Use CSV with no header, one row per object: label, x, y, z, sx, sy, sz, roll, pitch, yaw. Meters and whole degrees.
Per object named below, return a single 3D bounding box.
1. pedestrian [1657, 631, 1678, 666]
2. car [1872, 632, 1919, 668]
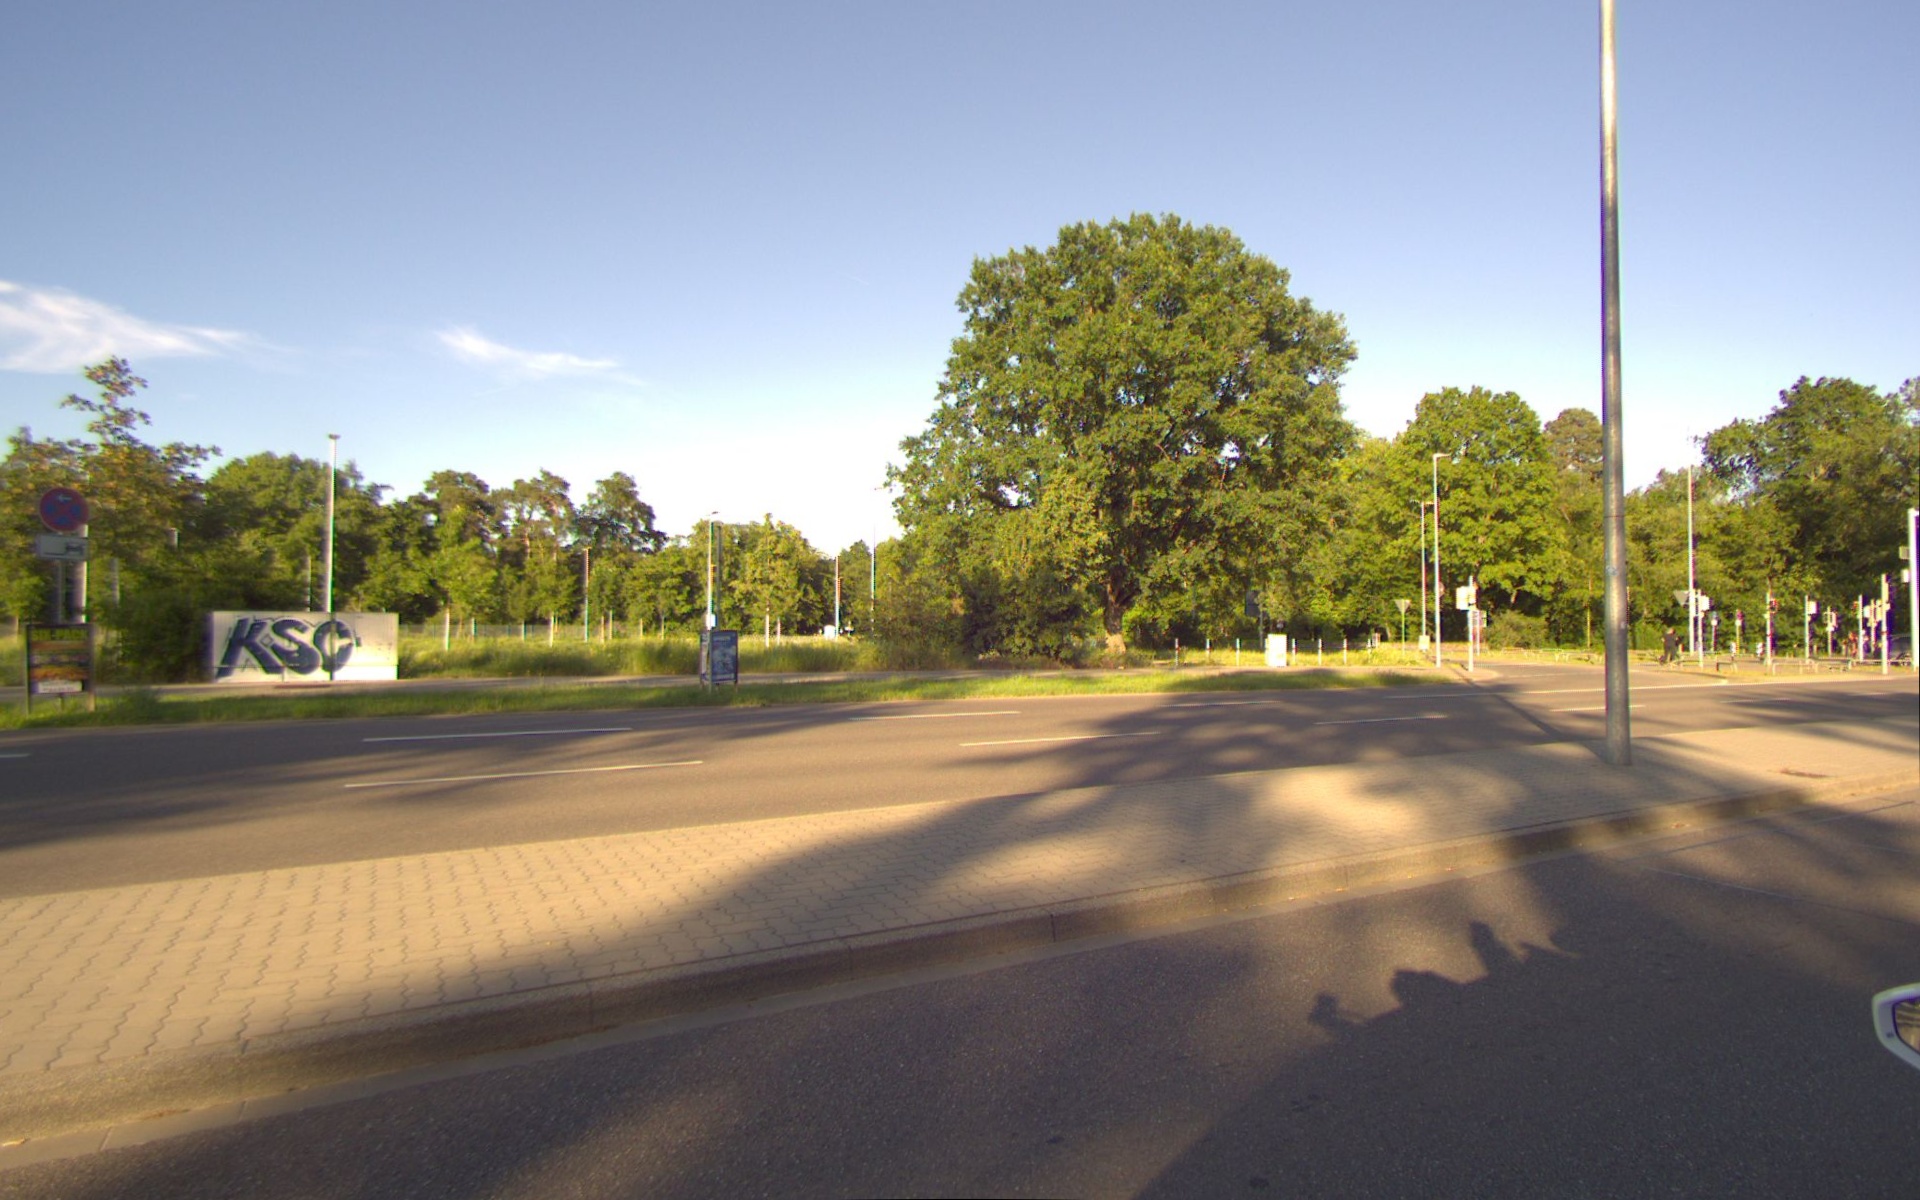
pedestrian,32.581,2.221,46.258,0.636,1.580,0.539,-1,-2,18
car,41.703,2.087,42.351,4.720,1.517,1.990,-2,-3,42
